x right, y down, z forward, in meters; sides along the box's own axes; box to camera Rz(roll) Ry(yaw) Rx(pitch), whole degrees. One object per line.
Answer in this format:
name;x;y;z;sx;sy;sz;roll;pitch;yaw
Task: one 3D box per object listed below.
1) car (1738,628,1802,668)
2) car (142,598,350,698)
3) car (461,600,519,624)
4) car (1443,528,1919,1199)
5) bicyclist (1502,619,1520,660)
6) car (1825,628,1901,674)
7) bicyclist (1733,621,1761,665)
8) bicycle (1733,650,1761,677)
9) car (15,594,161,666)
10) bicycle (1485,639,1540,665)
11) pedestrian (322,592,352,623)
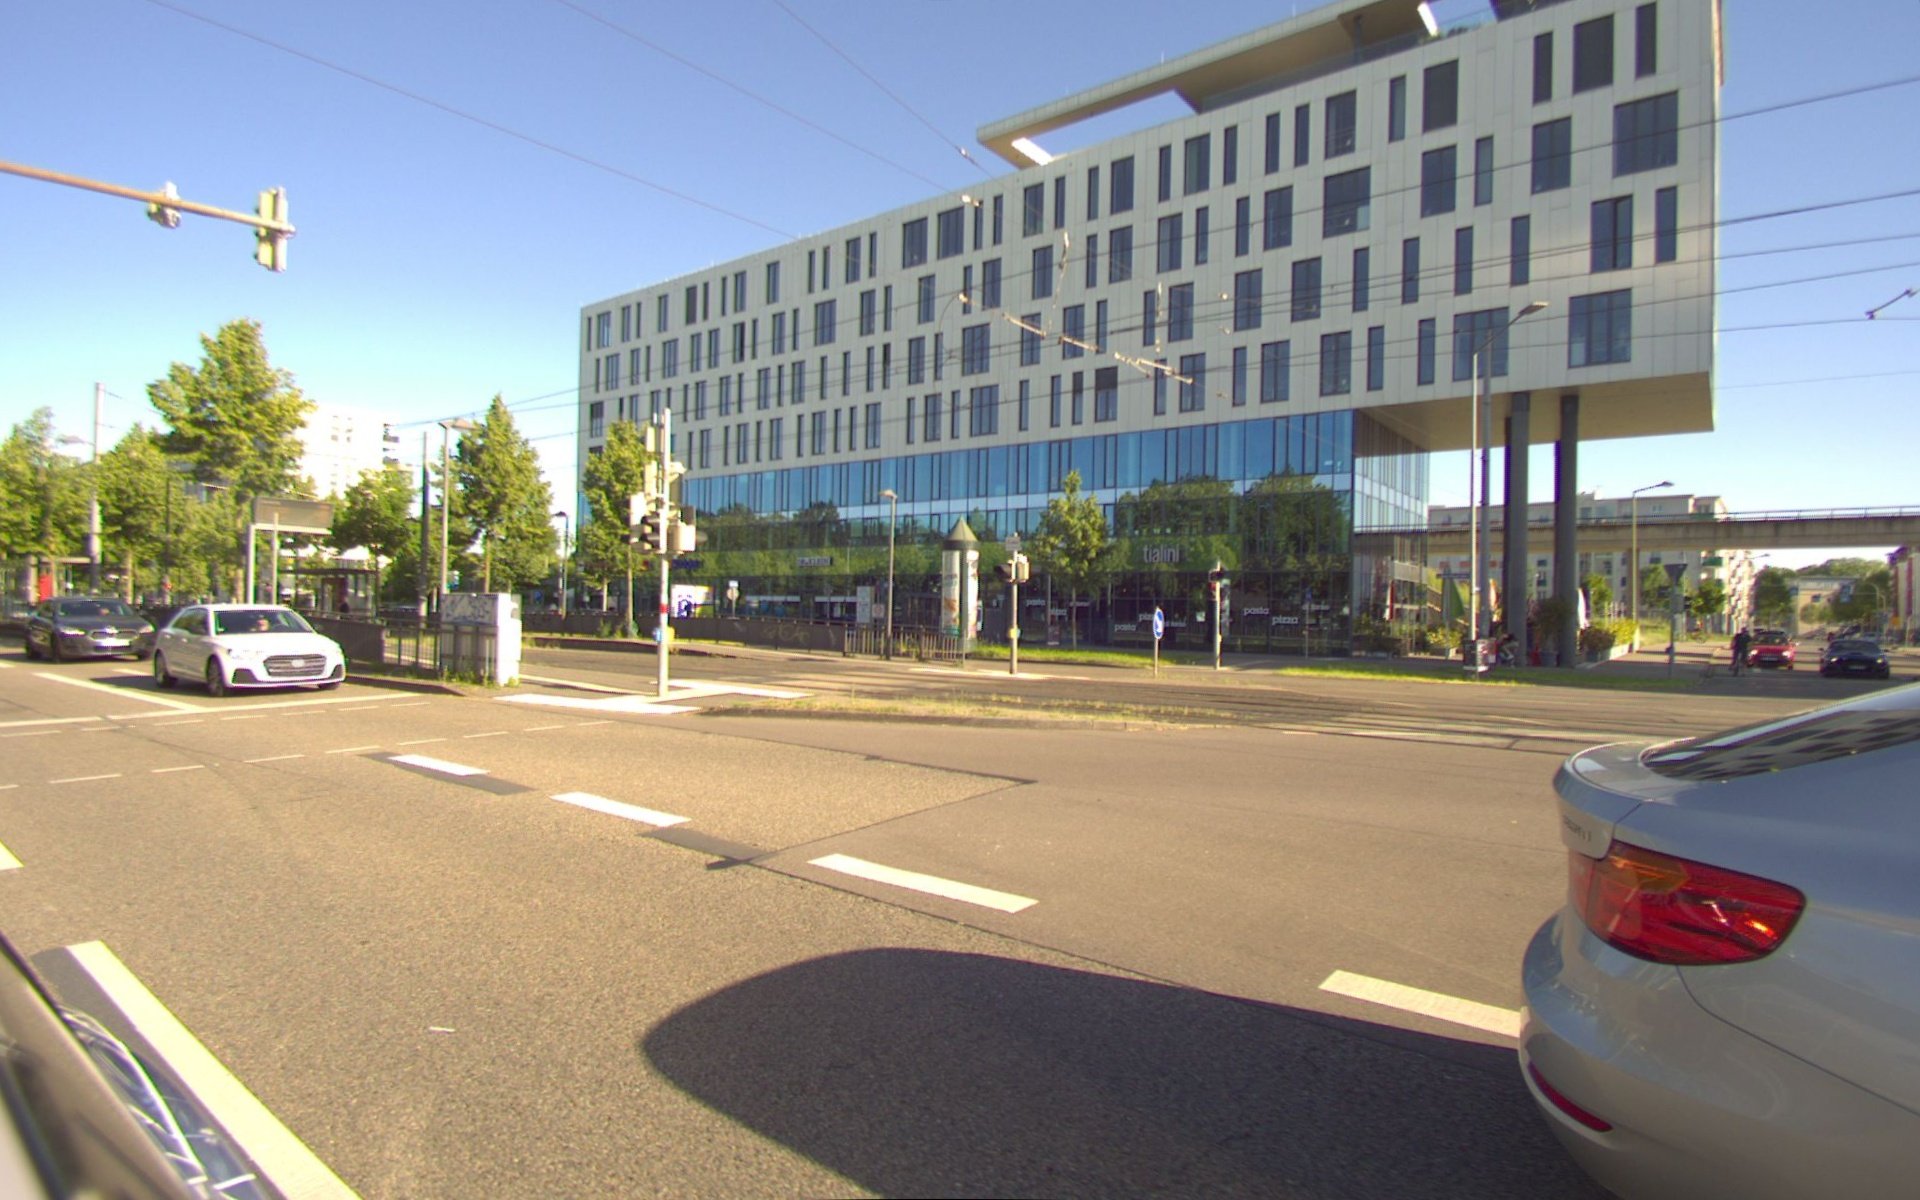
car;34.943;2.035;43.634;1.999;1.577;3.945;0;-1;41
car;-11.865;0.705;16.742;3.998;1.437;1.656;0;1;37
car;-31.686;0.774;68.191;4.336;1.538;1.782;0;1;37
car;3.418;0.658;1.199;4.903;1.538;1.782;0;1;37
bicyclist;19.442;1.376;35.699;0.551;1.434;0.478;0;-1;30
car;33.093;1.827;37.158;1.999;1.577;3.945;0;-1;41
bicyclist;28.679;1.557;36.870;0.750;1.595;0.944;0;-1;40
bicycle;28.713;2.304;36.904;0.748;0.869;1.806;0;-1;40
car;-20.670;0.628;23.935;4.336;1.538;1.782;0;1;37
bicycle;19.457;1.817;35.672;1.685;0.869;0.478;0;-1;30
pedestrian;-30.076;0.358;48.880;0.844;1.477;1.054;0;0;43
